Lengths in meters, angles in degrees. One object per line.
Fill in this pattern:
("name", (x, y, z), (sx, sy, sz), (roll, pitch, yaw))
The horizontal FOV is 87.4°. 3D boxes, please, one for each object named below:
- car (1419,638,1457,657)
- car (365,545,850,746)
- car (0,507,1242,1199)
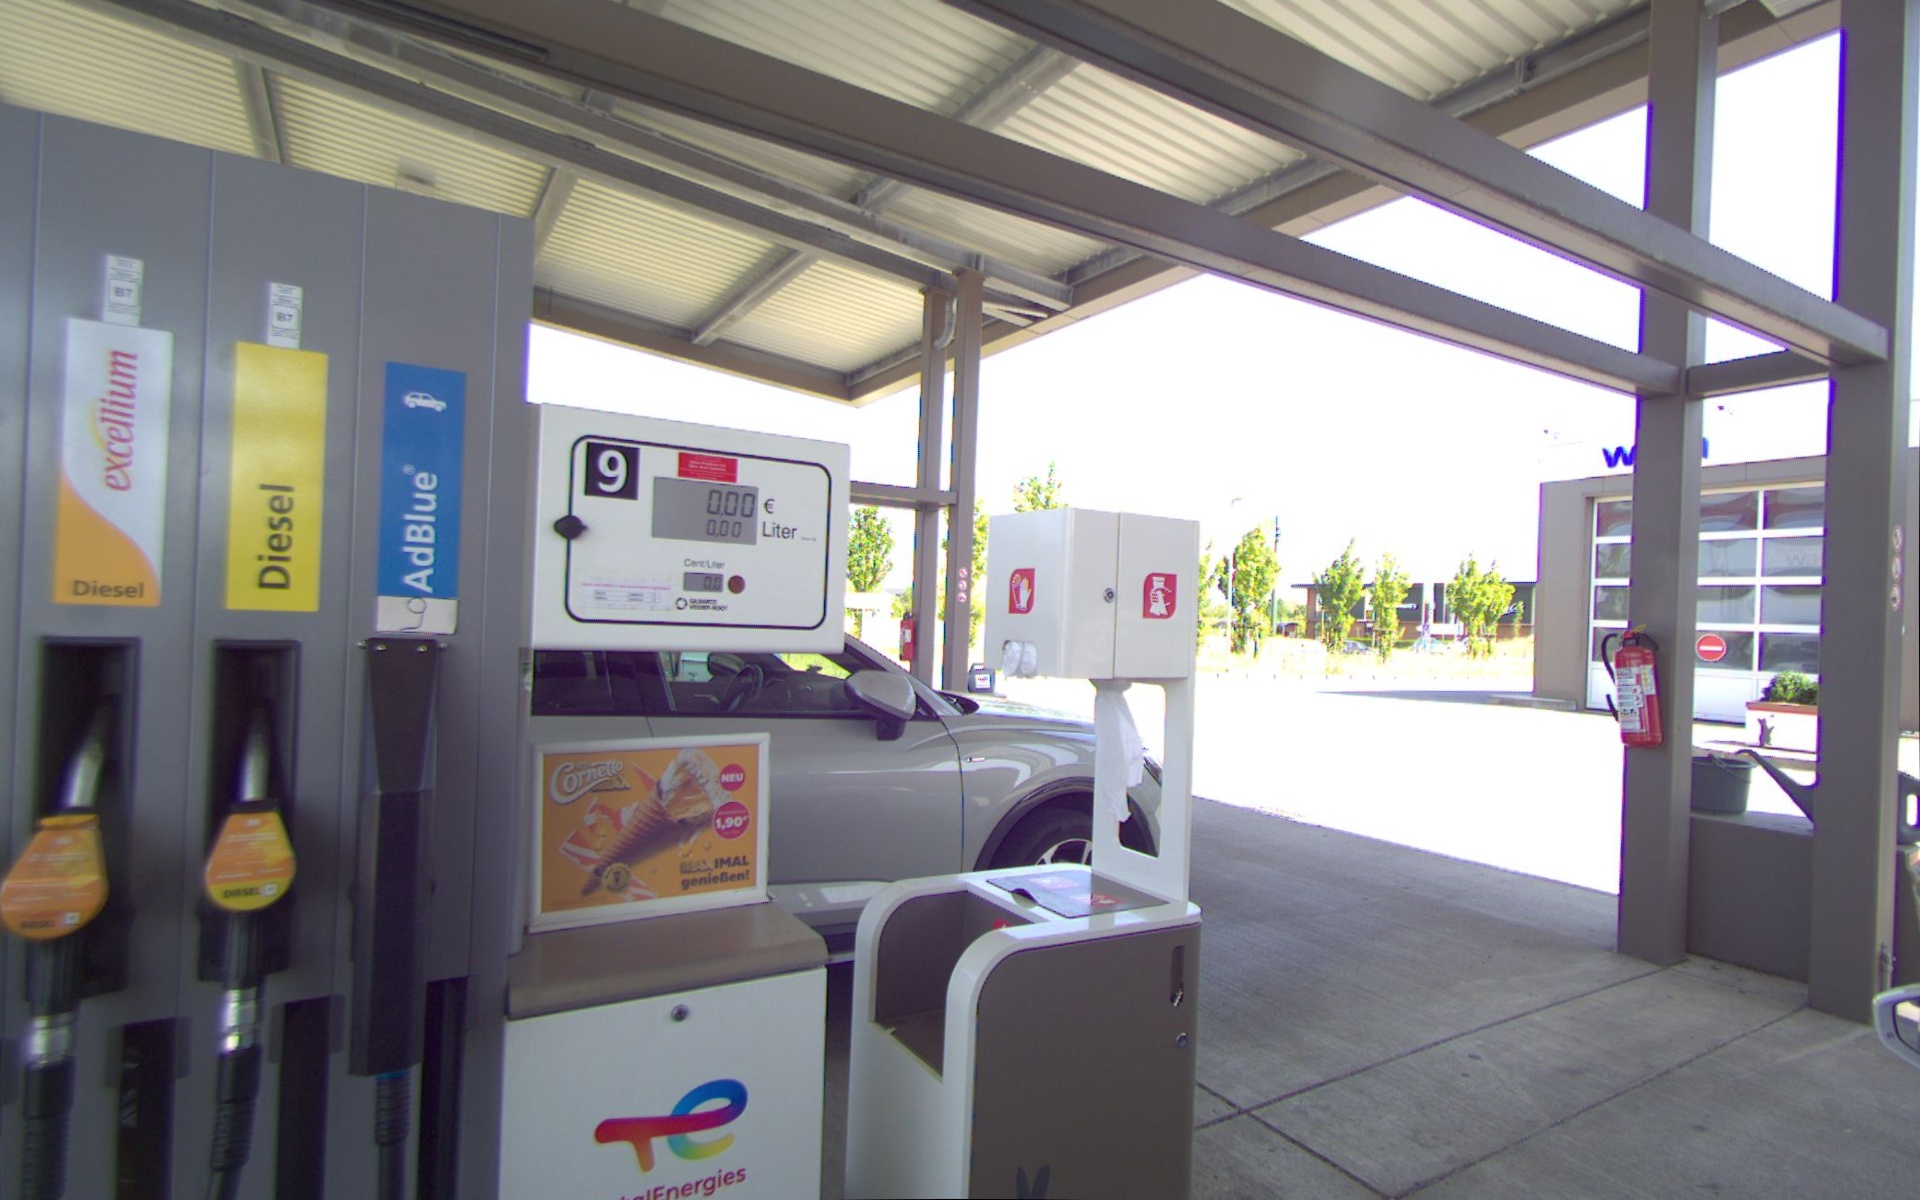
("car", (43.384, 4.283, 91.192), (3.972, 1.617, 1.780), (2, -1, -44))
("car", (-3.589, 0.449, 10.604), (4.491, 1.710, 1.847), (2, -1, -35))
("car", (-1.130, 0.628, 3.794), (4.276, 1.562, 1.771), (2, -1, -31))
